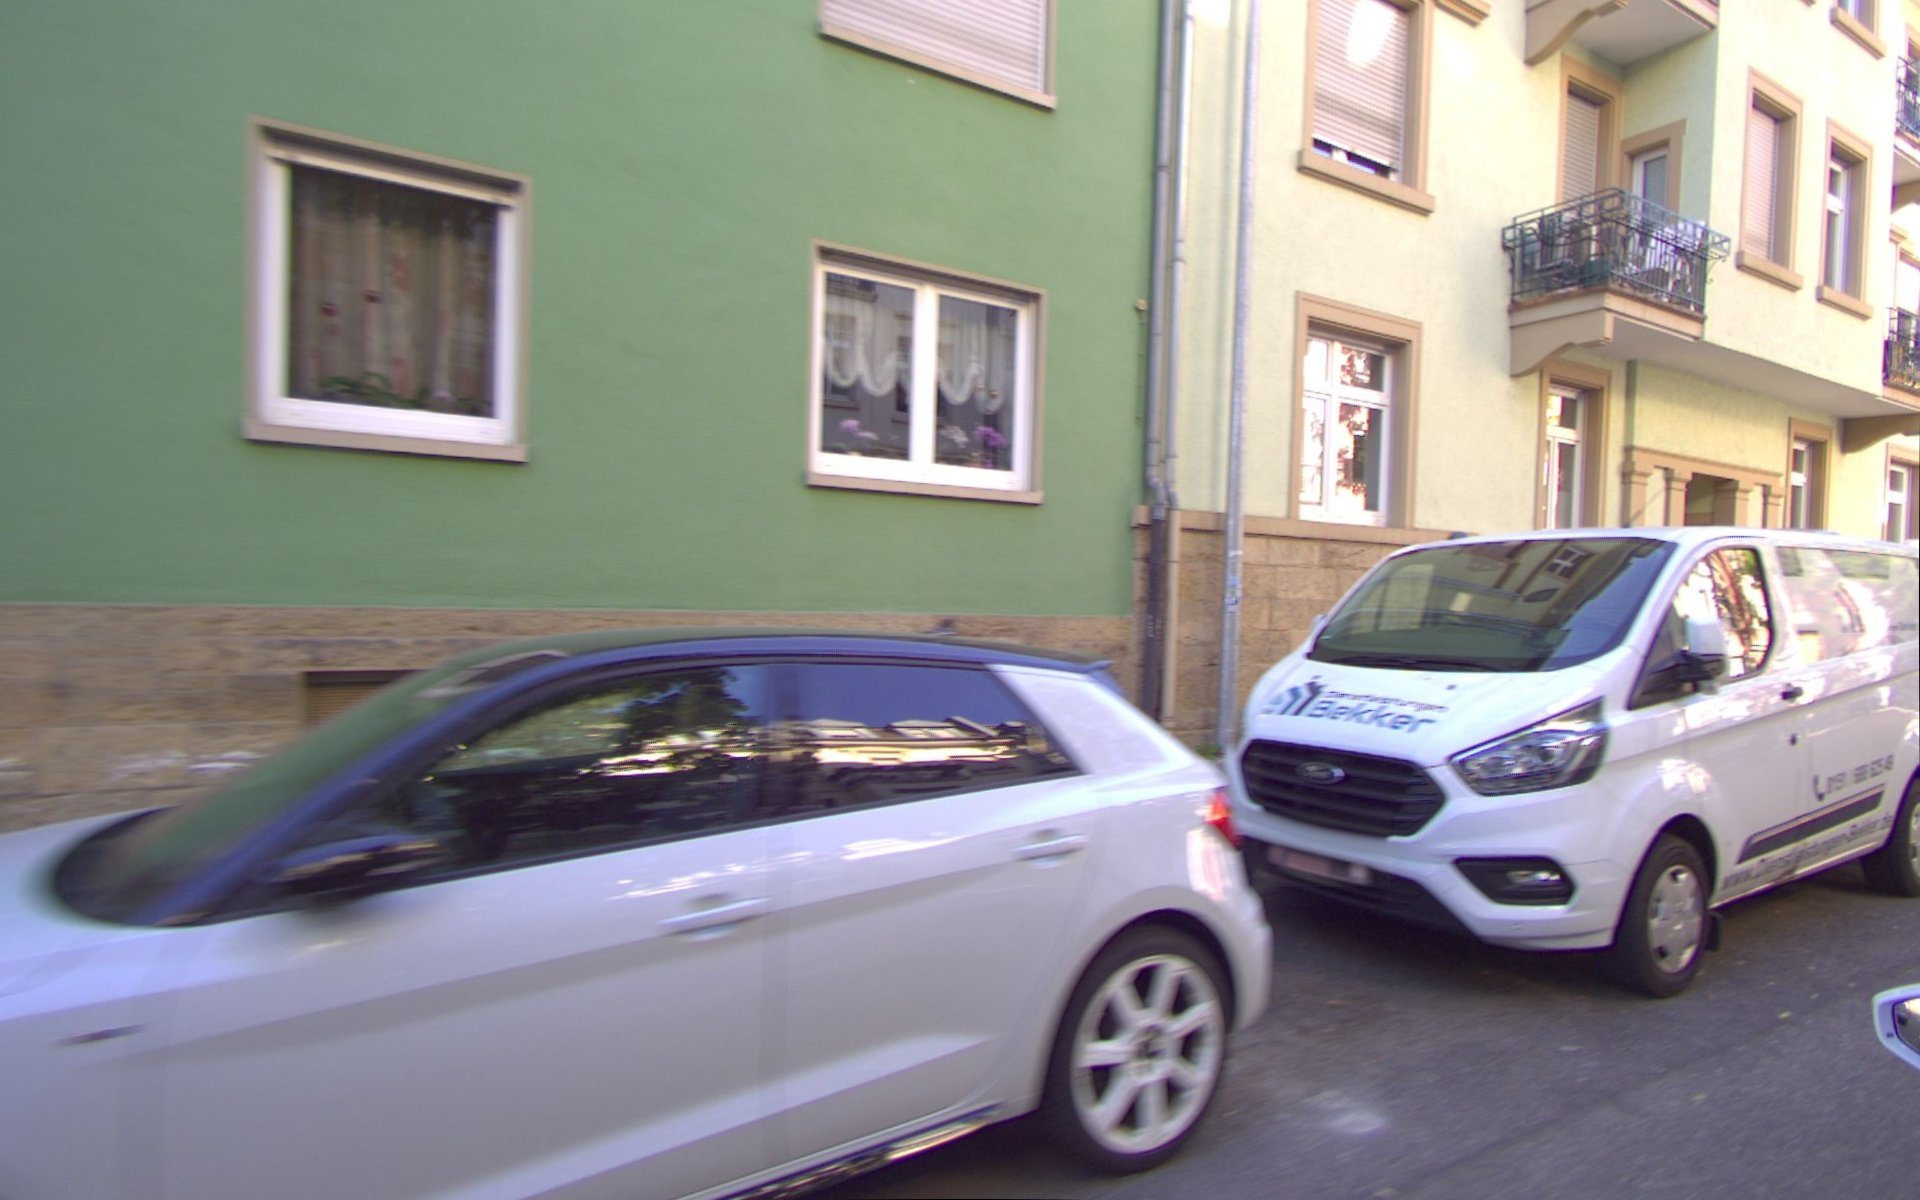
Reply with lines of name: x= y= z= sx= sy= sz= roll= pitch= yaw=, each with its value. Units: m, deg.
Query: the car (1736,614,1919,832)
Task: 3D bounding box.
car: x=8.821 y=0.934 z=8.619 sx=4.768 sy=1.542 sz=1.758 roll=1 pitch=0 yaw=-30

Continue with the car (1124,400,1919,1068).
car: x=3.628 y=0.514 z=5.665 sx=5.186 sy=2.197 sz=2.239 roll=1 pitch=-2 yaw=-32

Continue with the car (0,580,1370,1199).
car: x=-1.075 y=0.748 z=2.652 sx=4.313 sy=1.481 sz=1.824 roll=1 pitch=-2 yaw=-31
